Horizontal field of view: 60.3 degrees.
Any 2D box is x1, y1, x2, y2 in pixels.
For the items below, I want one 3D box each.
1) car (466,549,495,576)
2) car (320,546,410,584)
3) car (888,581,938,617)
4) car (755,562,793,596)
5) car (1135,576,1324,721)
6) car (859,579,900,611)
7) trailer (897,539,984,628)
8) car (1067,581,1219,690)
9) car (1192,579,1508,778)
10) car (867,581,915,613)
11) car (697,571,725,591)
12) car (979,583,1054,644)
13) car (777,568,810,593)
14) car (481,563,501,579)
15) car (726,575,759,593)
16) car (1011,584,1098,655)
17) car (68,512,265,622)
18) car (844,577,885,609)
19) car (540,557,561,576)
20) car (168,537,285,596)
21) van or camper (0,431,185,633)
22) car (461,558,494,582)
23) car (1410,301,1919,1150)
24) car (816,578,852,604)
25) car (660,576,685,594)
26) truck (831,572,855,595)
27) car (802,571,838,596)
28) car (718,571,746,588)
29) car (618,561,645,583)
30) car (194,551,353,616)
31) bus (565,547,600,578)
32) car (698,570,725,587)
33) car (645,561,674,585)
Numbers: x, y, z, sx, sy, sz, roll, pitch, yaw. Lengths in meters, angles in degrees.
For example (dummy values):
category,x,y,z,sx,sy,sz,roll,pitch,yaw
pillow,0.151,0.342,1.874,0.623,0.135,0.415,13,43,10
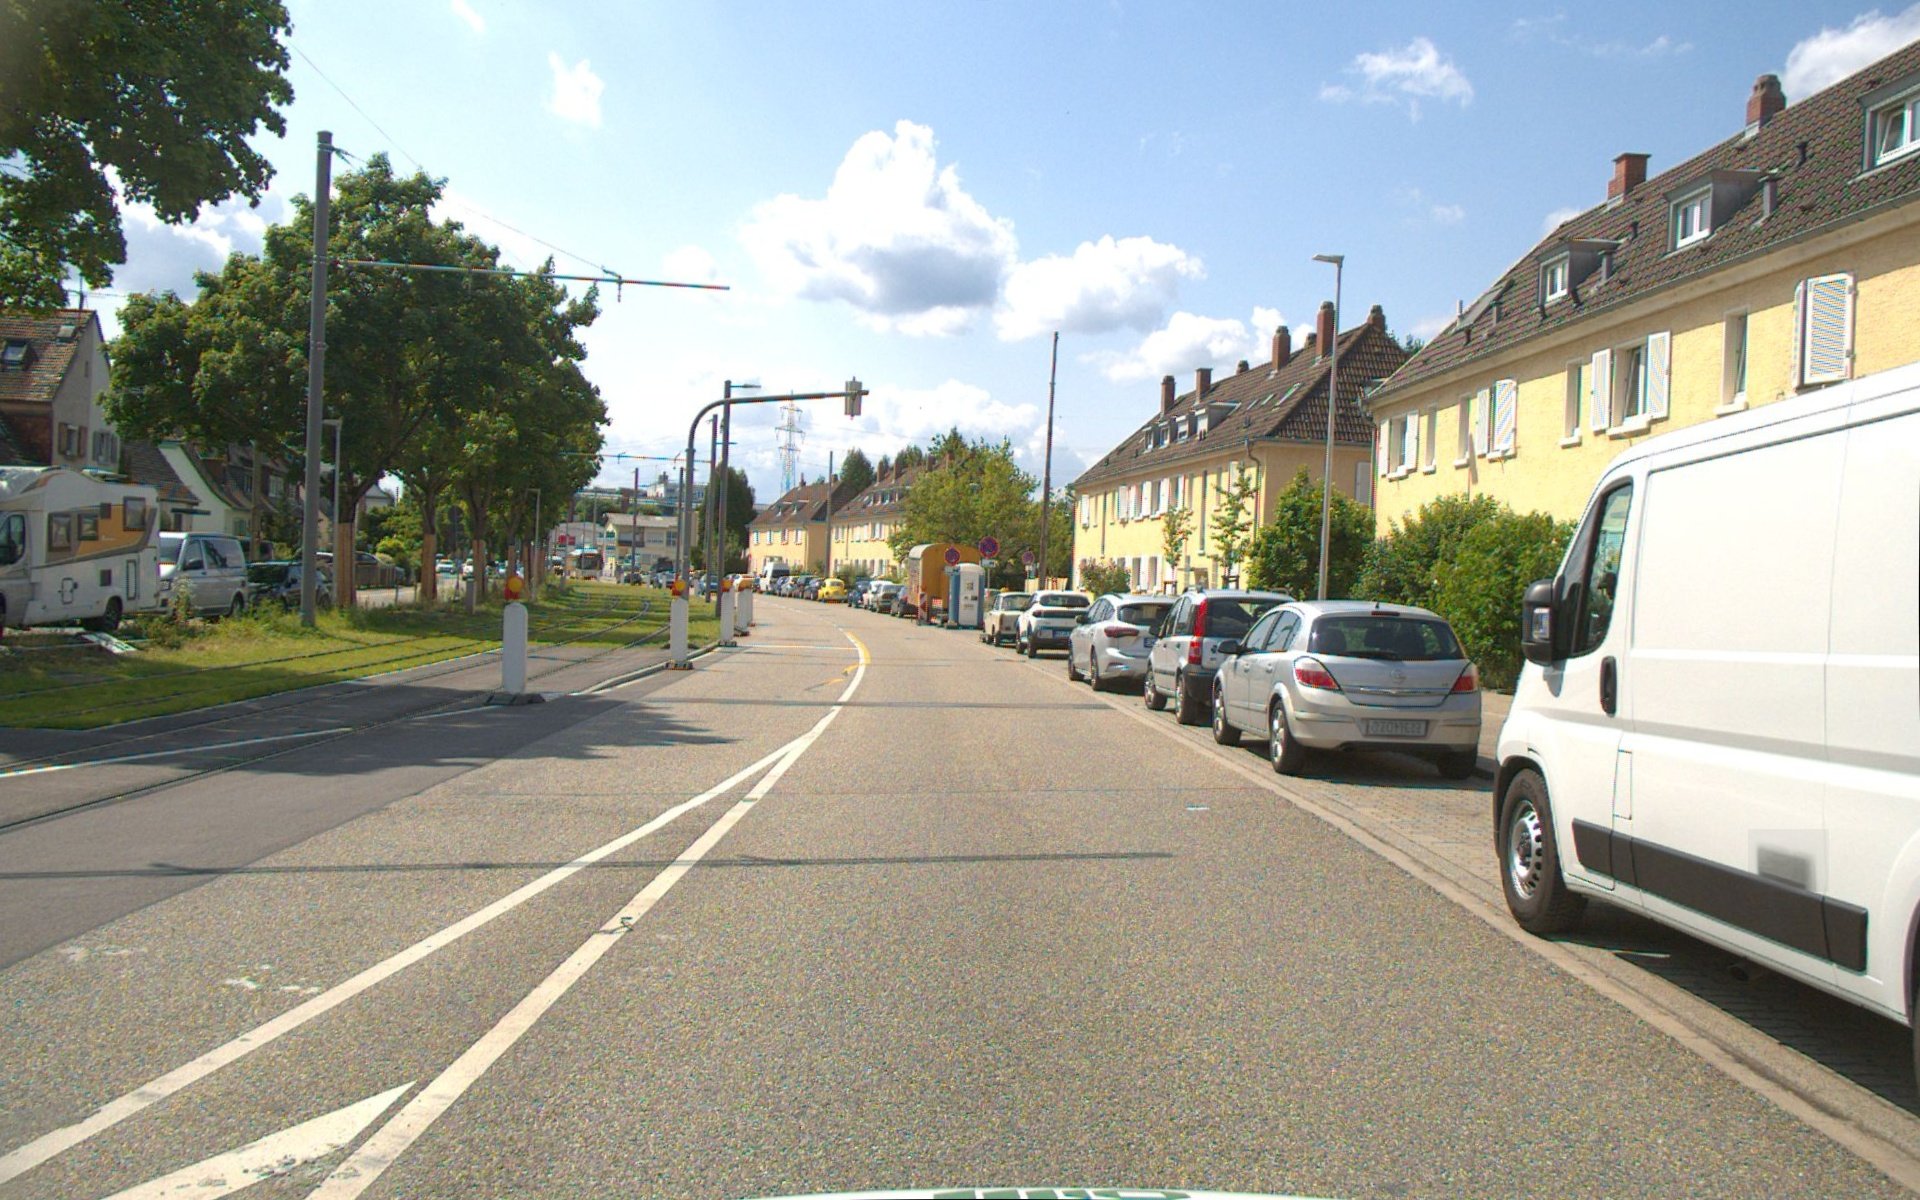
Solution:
category,x,y,z,sx,sy,sz,roll,pitch,yaw
car,-51.404,-4.021,177.167,2.046,2.768,6.950,0,1,-24
car,-32.637,-1.919,90.882,4.396,1.868,2.057,3,0,-16
car,-2.147,-0.050,74.253,1.549,1.474,4.443,2,1,-10
car,-14.441,-1.654,128.142,1.898,2.524,5.492,1,1,-17
car,3.218,0.530,20.417,1.595,1.577,3.808,2,0,-1
car,-4.239,-0.292,87.038,1.549,1.539,4.449,2,1,-10
trailer,-0.820,-0.671,65.890,2.641,3.282,5.071,2,0,-9
car,2.792,0.494,26.082,1.714,1.524,4.383,2,0,-2
car,3.400,0.605,15.257,1.674,1.530,4.252,2,0,-3
car,-3.450,-0.172,82.013,1.676,1.474,4.823,2,1,-10
car,-18.092,-1.387,120.072,1.637,1.474,3.945,0,1,-14
car,1.466,0.326,44.267,1.435,1.528,4.104,1,0,-6
car,-11.941,-1.403,118.257,1.609,1.630,4.013,3,1,-15
car,-47.172,-2.916,166.215,1.702,1.531,4.543,0,1,-19
car,-18.481,-1.402,140.385,1.773,1.483,4.736,0,1,-21
car,2.117,0.410,37.953,1.497,1.507,3.807,2,0,-4
car,-16.383,-0.659,34.465,1.954,2.048,4.900,3,0,-4
car,-5.346,-0.410,92.044,1.522,1.669,4.233,2,1,-13
car,-54.512,-4.468,220.018,2.072,2.486,5.538,2,0,-20
car,-27.775,-1.271,62.633,3.841,1.929,1.925,4,-1,-29
van or camper,-15.759,-1.083,27.881,2.329,3.022,7.290,2,0,-4
car,-38.028,-2.360,130.531,1.847,1.799,5.072,2,0,-10
car,3.662,0.337,6.224,2.230,2.221,6.368,2,0,1
car,-7.950,-0.577,104.129,1.608,1.508,3.918,0,2,-13
car,-24.738,-1.284,142.254,1.696,1.413,4.104,2,0,-16
truck,-9.044,-1.268,127.248,1.324,1.718,2.430,2,0,-16
car,-9.240,-1.093,109.156,1.609,1.508,4.107,3,1,-15
car,-20.070,-1.807,145.444,1.597,1.441,3.977,0,1,-20
car,-32.245,-2.766,162.066,1.925,2.000,5.265,2,1,-18
car,-16.645,-0.405,40.390,1.814,1.411,4.808,3,0,0
bus,-44.472,-4.425,194.578,2.597,3.472,12.178,1,1,-20
car,-23.128,-2.008,153.779,1.738,1.441,3.977,0,1,-20
car,-32.612,-2.893,179.435,1.931,2.522,6.022,0,1,-21
